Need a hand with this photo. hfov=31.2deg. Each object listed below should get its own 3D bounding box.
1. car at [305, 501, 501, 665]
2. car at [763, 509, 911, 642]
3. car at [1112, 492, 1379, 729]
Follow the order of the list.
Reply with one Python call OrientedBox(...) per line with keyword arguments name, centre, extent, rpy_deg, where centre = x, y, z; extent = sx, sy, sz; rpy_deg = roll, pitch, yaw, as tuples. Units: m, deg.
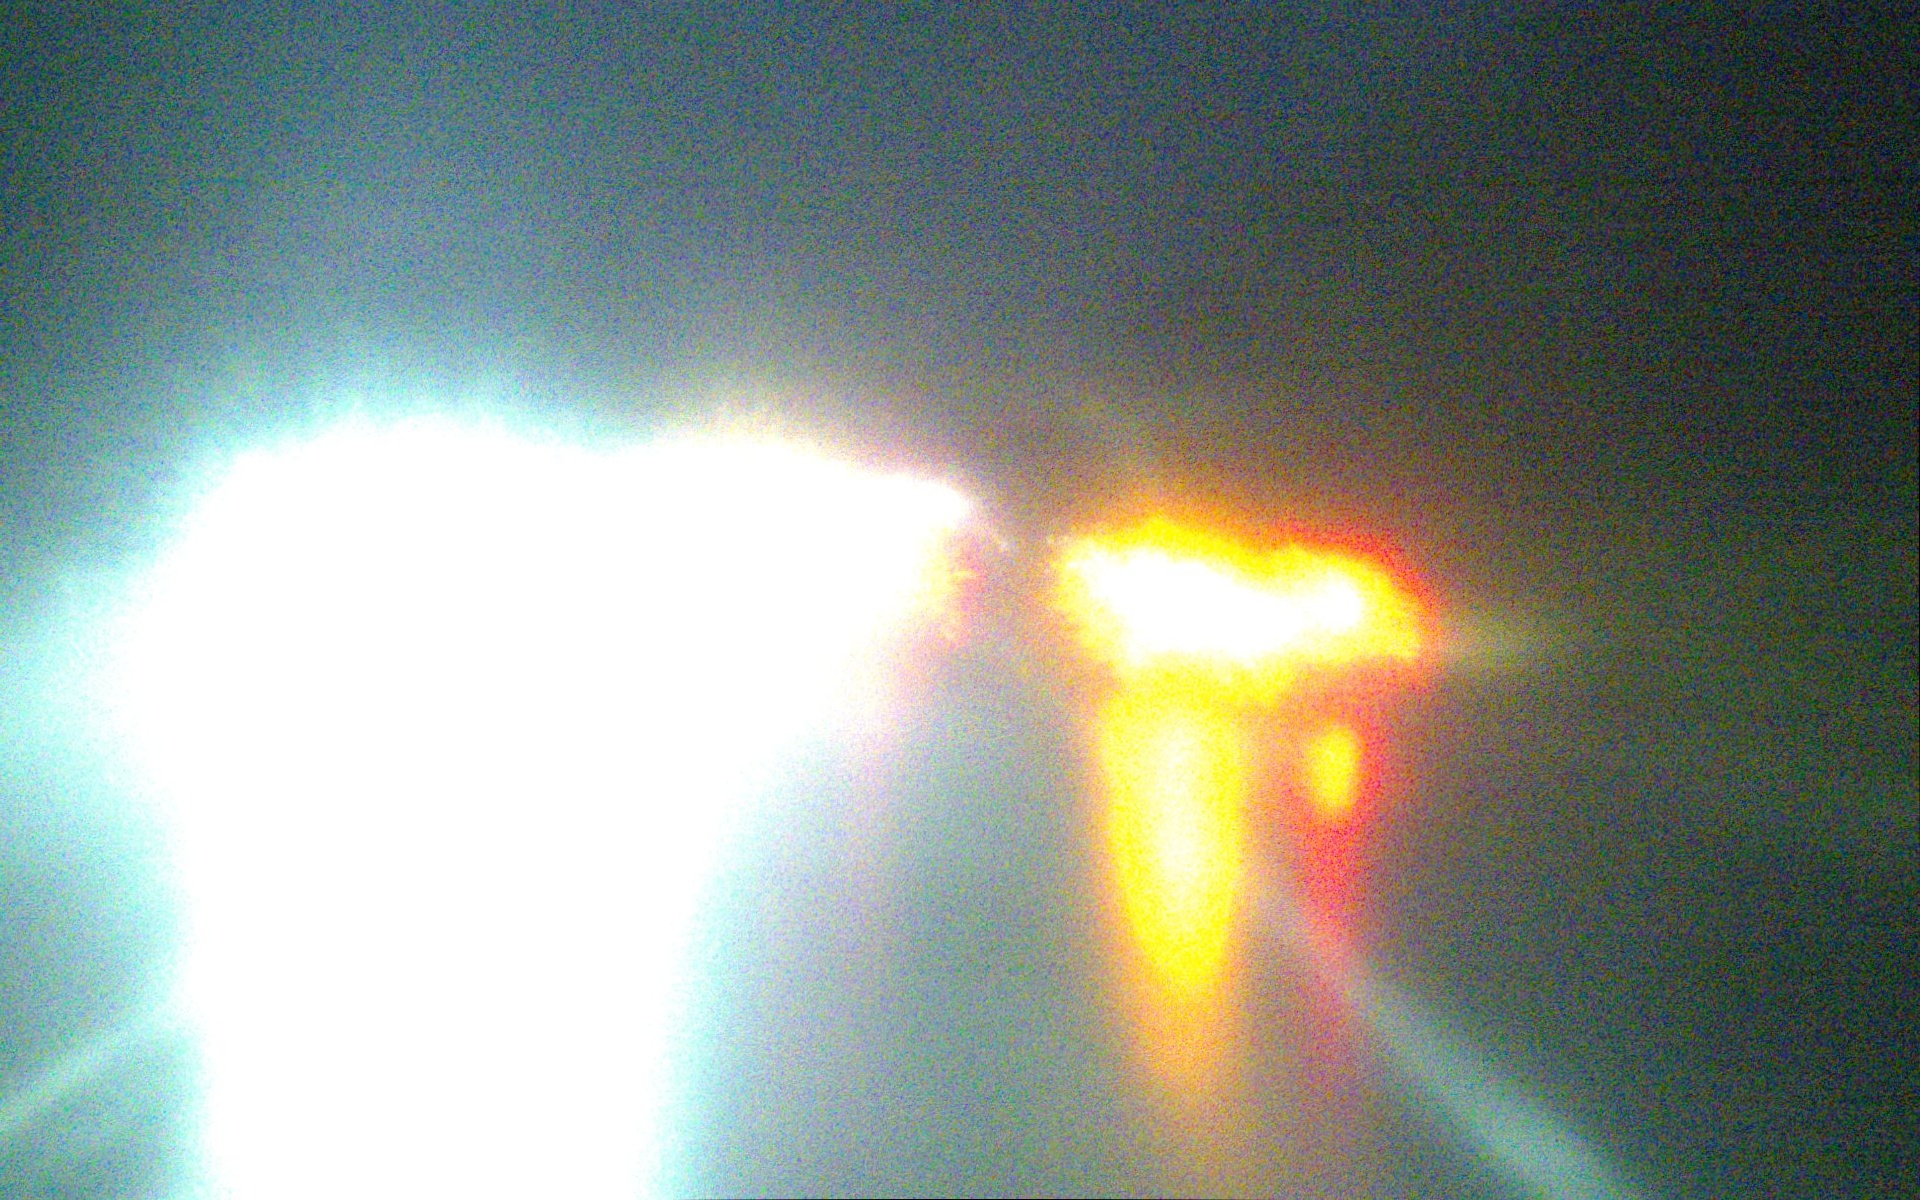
OrientedBox(name="car", centre=(-5.778, -0.212, 36.020), extent=(1.808, 1.616, 4.001), rpy_deg=(0, 1, -6))
OrientedBox(name="car", centre=(-1.586, -0.345, 44.225), extent=(1.808, 1.616, 4.001), rpy_deg=(0, 1, -2))
OrientedBox(name="car", centre=(2.543, 0.048, 31.561), extent=(2.093, 2.007, 4.000), rpy_deg=(1, 1, 0))
